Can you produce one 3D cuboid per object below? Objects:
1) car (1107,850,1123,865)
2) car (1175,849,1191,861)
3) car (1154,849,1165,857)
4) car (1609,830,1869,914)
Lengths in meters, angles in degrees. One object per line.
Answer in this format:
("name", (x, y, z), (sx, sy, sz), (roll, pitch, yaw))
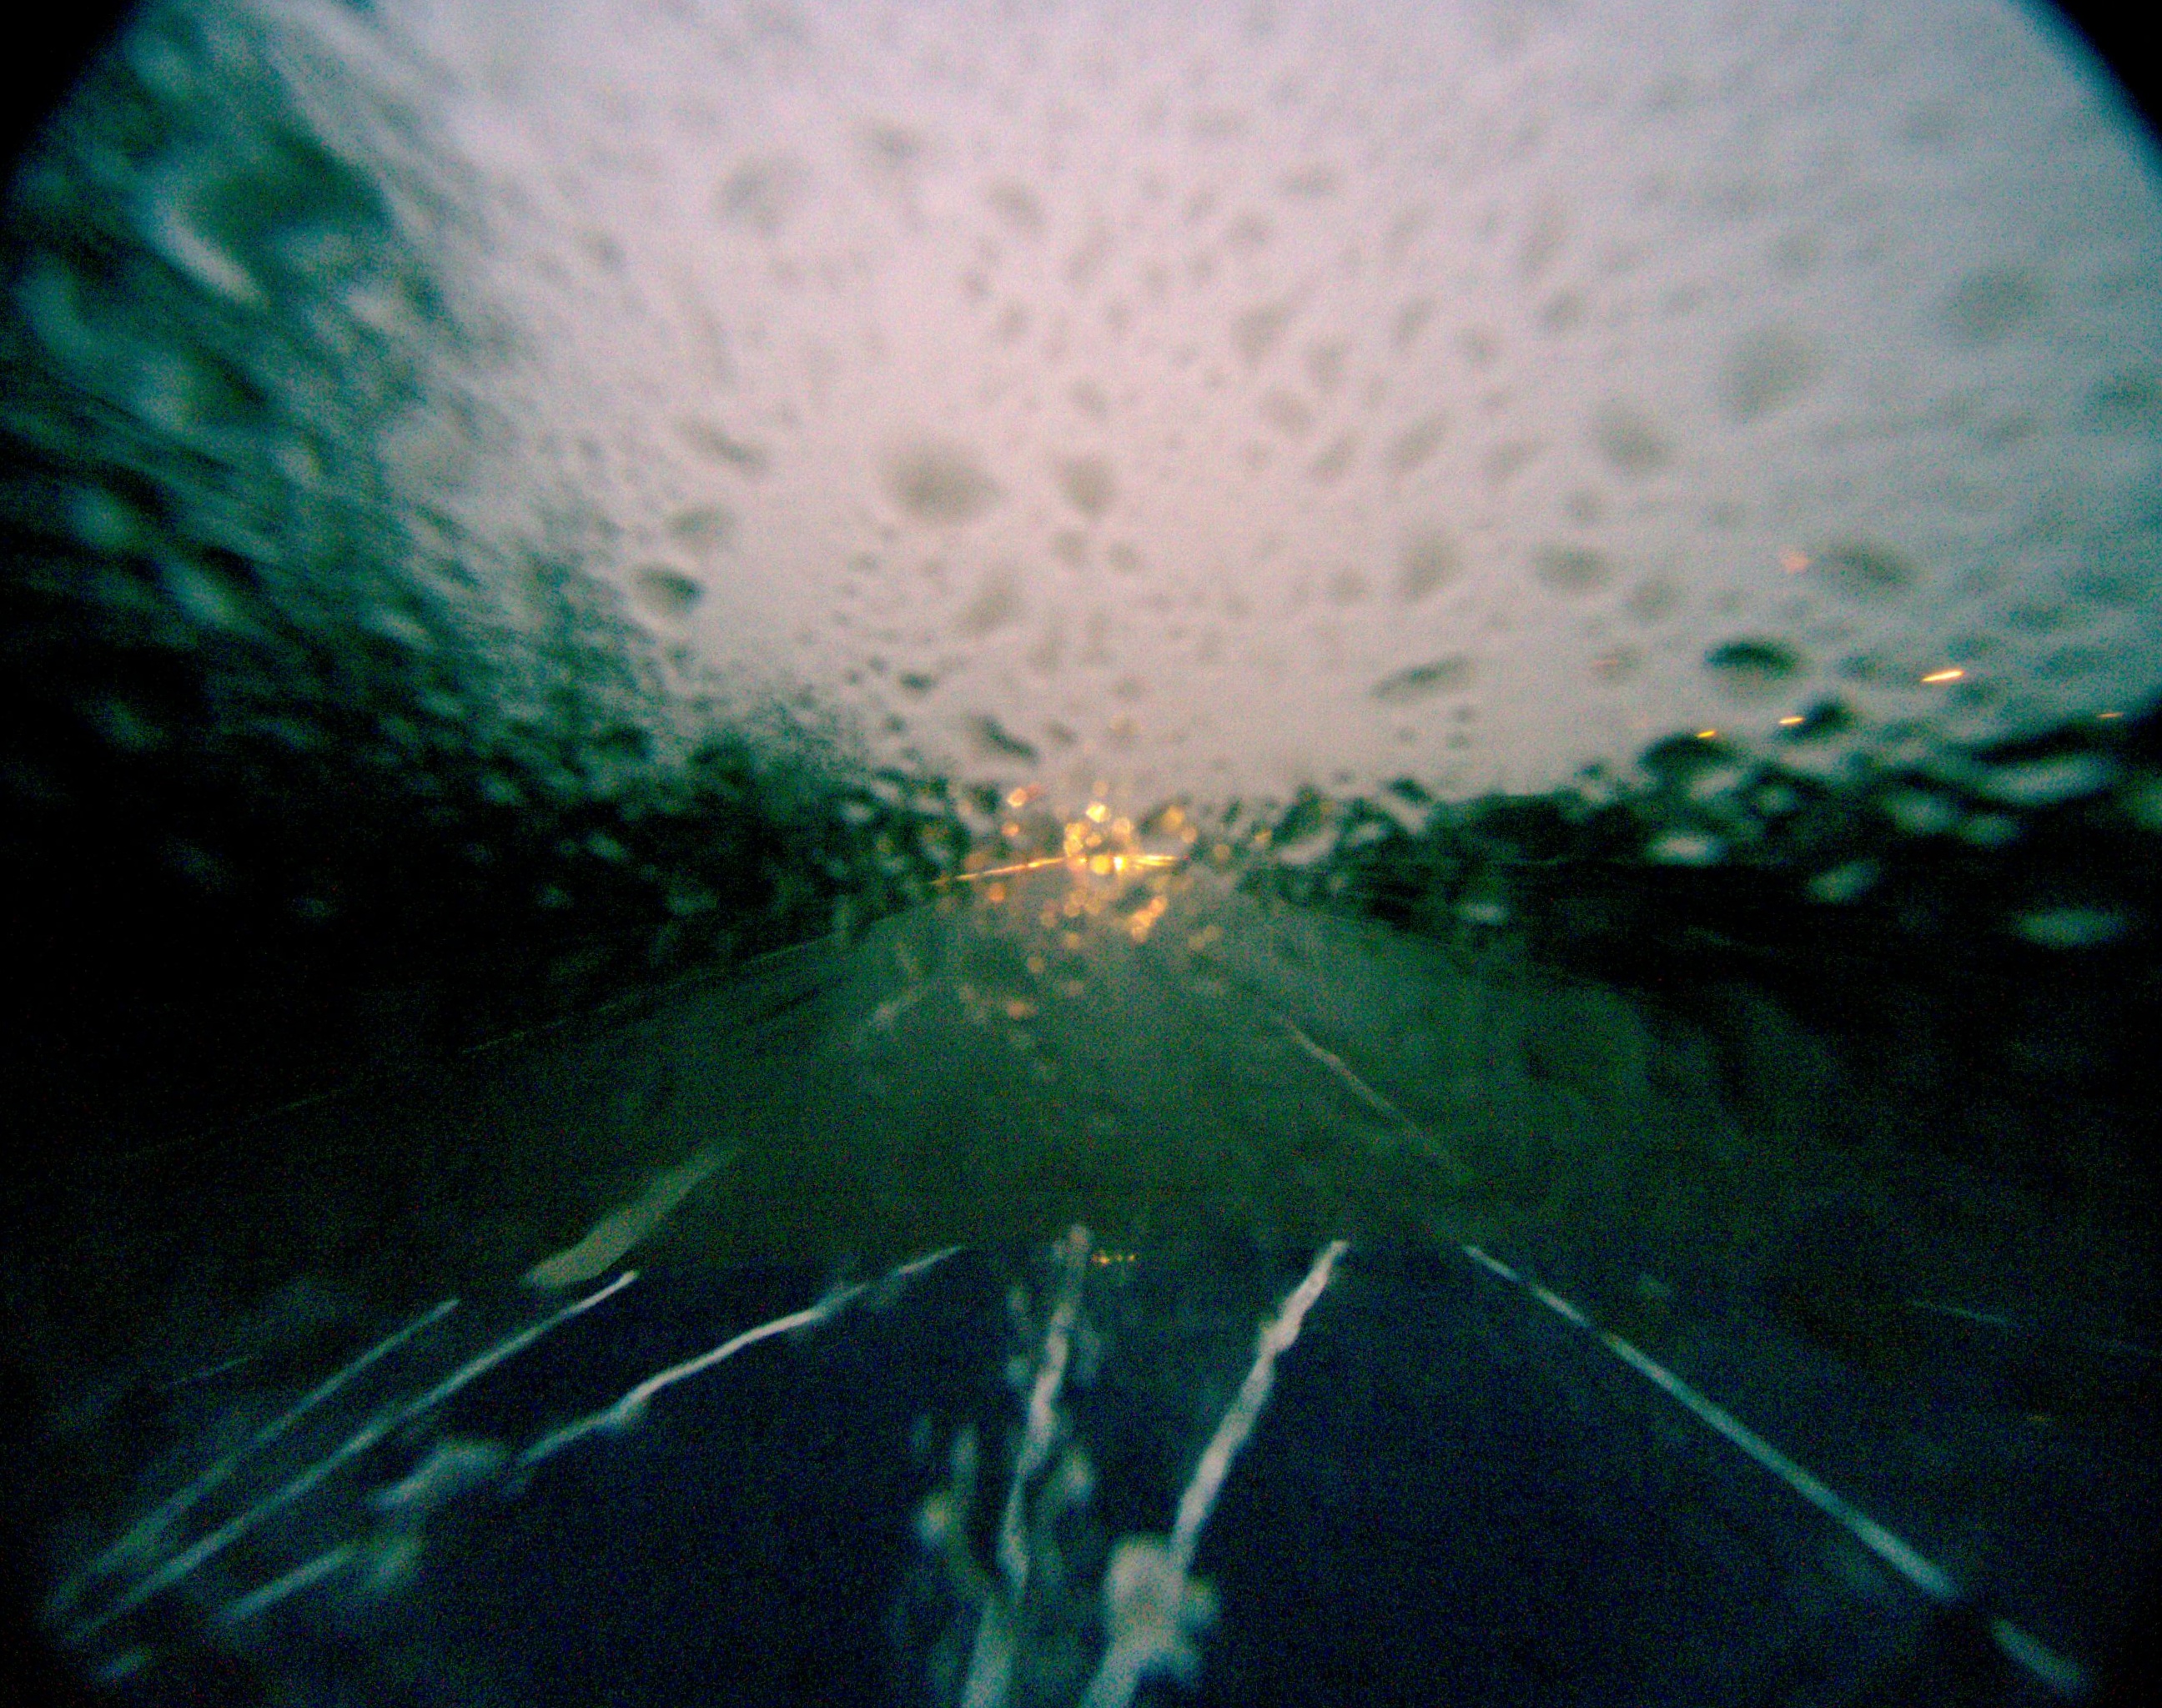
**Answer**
("car", (4.788, 0.492, 107.610), (1.999, 2.002, 3.999), (-4, 0, -1))
("car", (14.775, 0.175, 110.406), (1.745, 1.630, 4.000), (-1, 0, 1))
("car", (16.122, -0.275, 156.418), (1.745, 1.630, 4.000), (-1, 0, 1))
("car", (13.401, 0.305, 15.904), (1.707, 1.466, 4.365), (-2, 1, 1))
